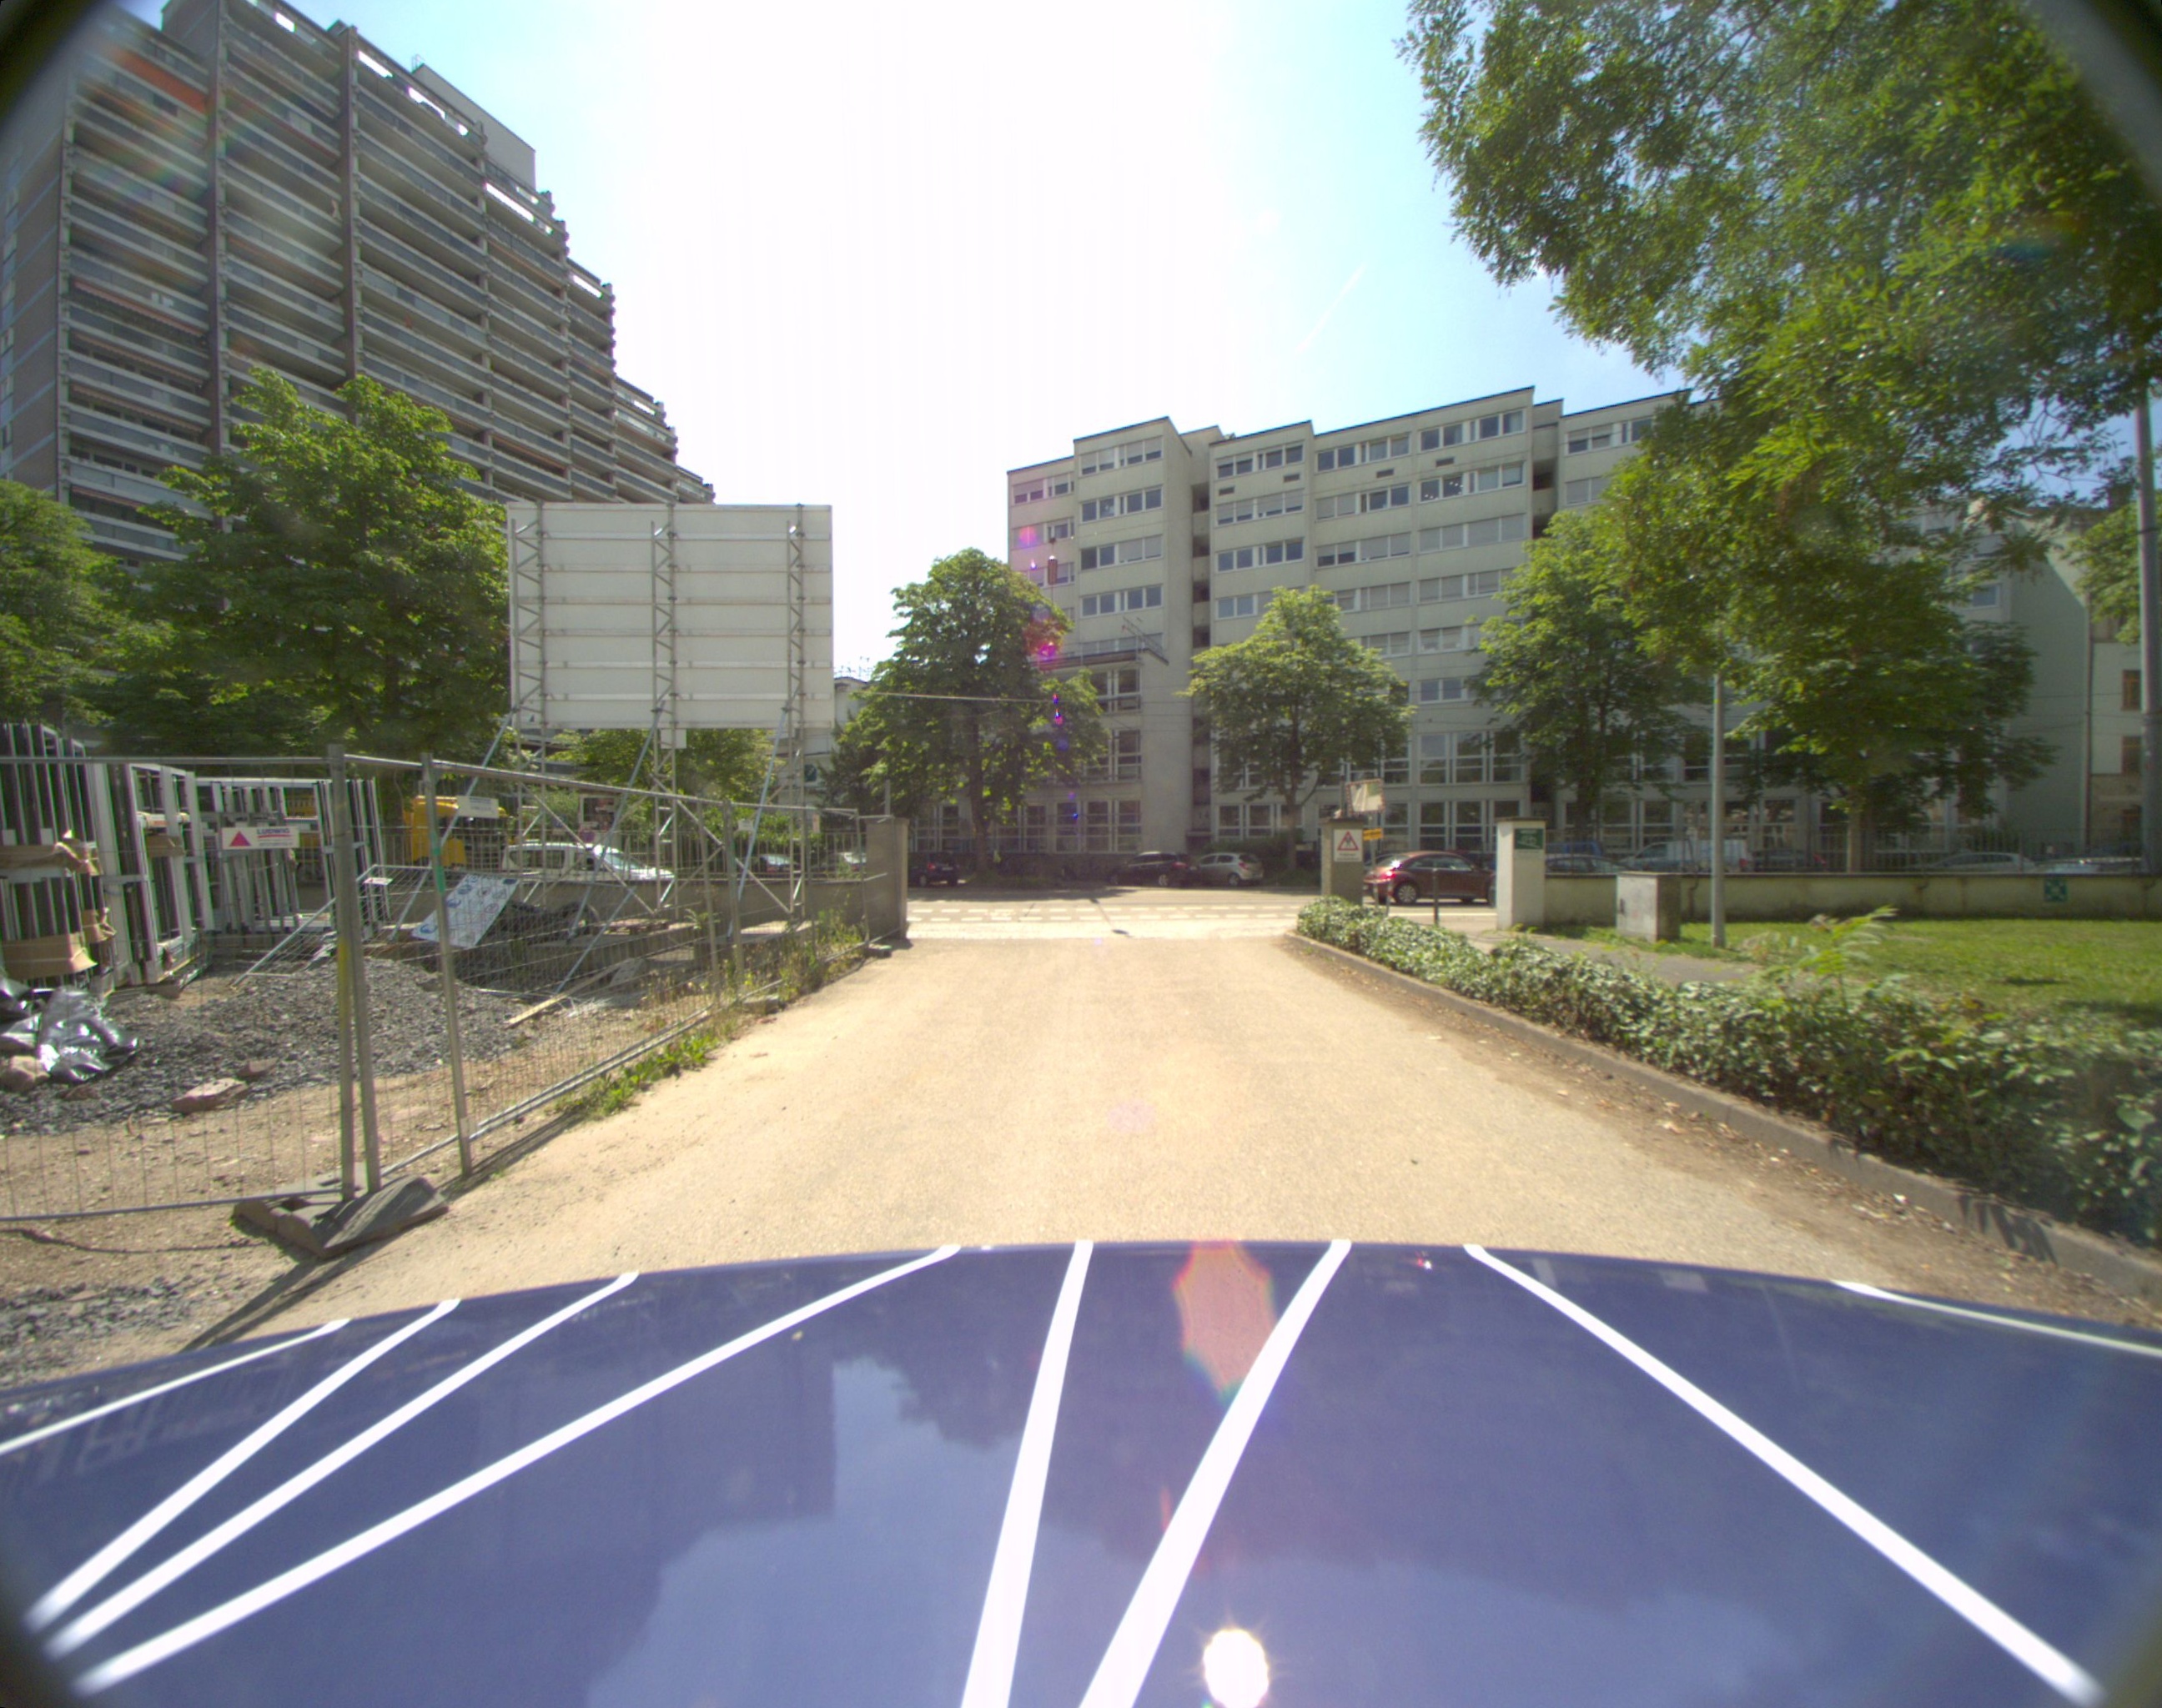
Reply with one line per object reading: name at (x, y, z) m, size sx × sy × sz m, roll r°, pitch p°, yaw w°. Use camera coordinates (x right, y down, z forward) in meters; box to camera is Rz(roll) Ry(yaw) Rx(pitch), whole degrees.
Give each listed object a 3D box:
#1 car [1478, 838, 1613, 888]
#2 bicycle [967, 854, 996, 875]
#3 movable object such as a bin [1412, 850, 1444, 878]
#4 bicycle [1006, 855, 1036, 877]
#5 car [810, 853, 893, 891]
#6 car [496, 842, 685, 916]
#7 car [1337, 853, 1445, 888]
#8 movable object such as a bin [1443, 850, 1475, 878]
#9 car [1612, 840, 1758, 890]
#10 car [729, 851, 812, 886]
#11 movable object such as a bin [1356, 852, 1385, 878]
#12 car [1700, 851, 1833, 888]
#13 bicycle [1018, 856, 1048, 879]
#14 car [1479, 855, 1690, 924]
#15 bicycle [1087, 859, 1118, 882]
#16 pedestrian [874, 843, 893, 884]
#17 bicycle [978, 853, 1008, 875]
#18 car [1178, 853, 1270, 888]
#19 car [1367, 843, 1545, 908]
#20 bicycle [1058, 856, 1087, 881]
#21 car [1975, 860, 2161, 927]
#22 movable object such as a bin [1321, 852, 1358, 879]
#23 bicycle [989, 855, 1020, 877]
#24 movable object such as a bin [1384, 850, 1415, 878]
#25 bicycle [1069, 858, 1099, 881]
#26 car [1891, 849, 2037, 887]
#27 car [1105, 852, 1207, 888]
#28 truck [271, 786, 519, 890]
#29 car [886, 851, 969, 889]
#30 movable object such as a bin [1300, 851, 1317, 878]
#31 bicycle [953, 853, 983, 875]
car at (19.979, 0.353, 32.800) m, size 4.617 × 2.002 × 2.004 m, roll 0°, pitch 1°, yaw 43°
bicycle at (-5.308, 0.542, 40.639) m, size 0.567 × 1.124 × 1.931 m, roll 0°, pitch 0°, yaw 27°
movable object such as a bin at (17.484, 0.494, 38.295) m, size 1.180 × 1.390 × 1.038 m, roll 0°, pitch 0°, yaw 7°
bicycle at (-3.107, 0.608, 39.452) m, size 0.567 × 1.124 × 1.947 m, roll 0°, pitch 1°, yaw 30°
car at (-9.739, 0.710, 32.116) m, size 1.823 × 1.454 × 4.011 m, roll -1°, pitch 1°, yaw -41°
car at (-13.160, 0.632, 20.558) m, size 3.998 × 1.845 × 1.518 m, roll -1°, pitch 4°, yaw -3°
car at (13.355, 0.684, 32.828) m, size 3.969 × 1.405 × 1.718 m, roll 0°, pitch 0°, yaw 42°
movable object such as a bin at (19.014, 0.487, 38.237) m, size 1.180 × 1.390 × 1.038 m, roll 0°, pitch 0°, yaw 7°
car at (26.168, 0.425, 33.051) m, size 2.004 × 2.002 × 4.617 m, roll 0°, pitch 0°, yaw -39°
car at (-13.138, 0.568, 32.047) m, size 4.011 × 1.365 × 1.633 m, roll 0°, pitch 1°, yaw 42°
movable object such as a bin at (14.537, 0.543, 38.202) m, size 1.076 × 1.322 × 0.971 m, roll 0°, pitch 0°, yaw 0°
car at (29.700, 0.630, 33.031) m, size 1.674 × 1.477 × 3.989 m, roll 0°, pitch 0°, yaw -35°
bicycle at (-2.443, 0.676, 39.024) m, size 0.567 × 1.124 × 1.947 m, roll 0°, pitch 1°, yaw 30°
car at (11.171, 0.777, 16.996) m, size 3.725 × 1.447 × 1.589 m, roll 0°, pitch -2°, yaw -5°
bicycle at (1.110, 0.801, 38.096) m, size 0.567 × 1.124 × 2.239 m, roll 0°, pitch 0°, yaw 30°
pedestrian at (-9.061, 0.422, 34.886) m, size 0.576 × 1.864 × 0.716 m, roll 0°, pitch 1°, yaw 13°
bicycle at (-4.642, 0.537, 40.253) m, size 0.567 × 1.124 × 1.931 m, roll 0°, pitch 1°, yaw 30°
car at (6.192, 0.669, 33.028) m, size 3.529 × 1.454 × 1.758 m, roll 0°, pitch 0°, yaw 42°
car at (10.438, 0.564, 21.363) m, size 3.997 × 1.679 × 1.999 m, roll 0°, pitch 2°, yaw -1°
bicycle at (-0.416, 0.741, 38.718) m, size 0.567 × 1.230 × 1.947 m, roll 0°, pitch 1°, yaw 30°
car at (23.441, 0.863, 17.198) m, size 4.147 × 1.410 × 1.884 m, roll 0°, pitch 0°, yaw 1°
movable object such as a bin at (12.964, 0.550, 38.113) m, size 1.451 × 1.322 × 1.126 m, roll 0°, pitch 0°, yaw 0°
bicycle at (-3.994, 0.607, 39.883) m, size 0.567 × 1.124 × 1.947 m, roll 0°, pitch 1°, yaw 30°
movable object such as a bin at (16.068, 0.502, 38.344) m, size 1.180 × 1.390 × 1.038 m, roll 0°, pitch 0°, yaw 7°
bicycle at (0.165, 0.774, 38.135) m, size 0.567 × 1.124 × 1.947 m, roll 0°, pitch 1°, yaw 30°
car at (39.227, 0.591, 33.924) m, size 3.987 × 1.380 × 1.754 m, roll 3°, pitch 5°, yaw 42°
car at (3.191, 0.666, 32.914) m, size 4.185 × 1.461 × 1.758 m, roll 0°, pitch 0°, yaw 42°
truck at (-28.573, -0.633, 31.658) m, size 9.725 × 3.983 × 2.754 m, roll 0°, pitch 1°, yaw 15°
car at (-6.549, 0.646, 32.226) m, size 3.565 × 1.508 × 1.653 m, roll 0°, pitch 1°, yaw 42°
movable object such as a bin at (11.791, 0.526, 39.441) m, size 0.802 × 1.397 × 0.768 m, roll 0°, pitch 0°, yaw 13°
bicycle at (-6.050, 0.528, 40.884) m, size 0.567 × 1.124 × 1.931 m, roll 0°, pitch 0°, yaw 27°
